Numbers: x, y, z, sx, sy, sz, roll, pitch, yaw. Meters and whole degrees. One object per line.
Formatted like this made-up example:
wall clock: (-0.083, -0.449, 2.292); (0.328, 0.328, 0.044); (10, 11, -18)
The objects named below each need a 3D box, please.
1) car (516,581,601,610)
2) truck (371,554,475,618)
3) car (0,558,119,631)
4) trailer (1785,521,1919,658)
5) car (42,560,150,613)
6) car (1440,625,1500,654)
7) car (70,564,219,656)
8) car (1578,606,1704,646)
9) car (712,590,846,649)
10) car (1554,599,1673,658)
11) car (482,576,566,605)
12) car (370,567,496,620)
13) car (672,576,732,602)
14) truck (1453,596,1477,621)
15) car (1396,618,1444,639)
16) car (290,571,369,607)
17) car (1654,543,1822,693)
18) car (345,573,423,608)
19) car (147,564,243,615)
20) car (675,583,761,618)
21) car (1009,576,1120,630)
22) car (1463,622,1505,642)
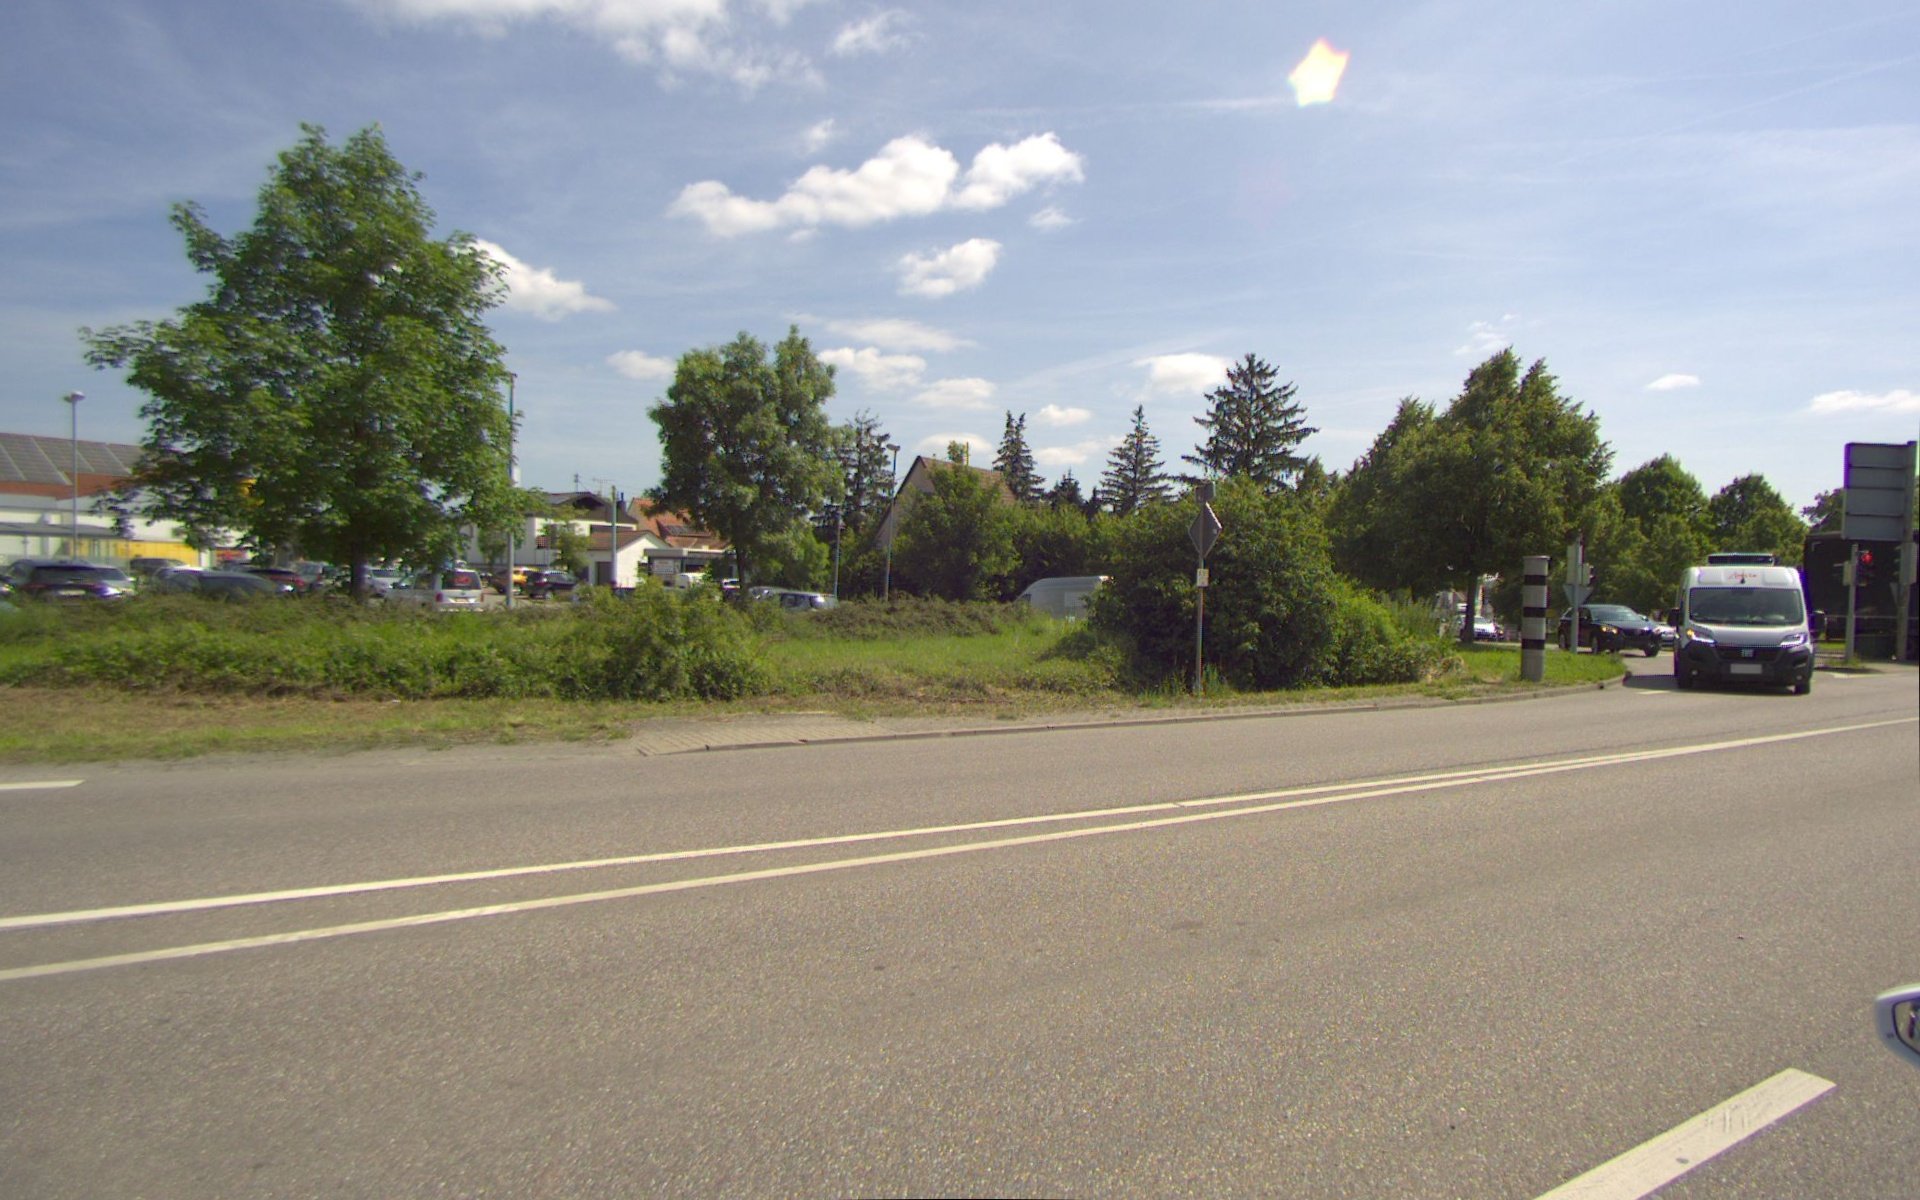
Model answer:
car: (-23.401, -0.233, 58.684); (1.849, 1.562, 4.243); (2, 0, 37)
truck: (-21.200, -0.549, 39.629); (3.932, 2.397, 1.994); (2, 0, 34)
car: (-23.670, -0.178, 26.272); (3.939, 1.697, 1.903); (3, 1, 40)
trailer: (30.823, -0.276, 27.729); (2.749, 4.116, 13.696); (0, 1, -12)
car: (-27.090, -0.431, 31.456); (3.936, 1.549, 1.772); (2, 0, 37)
car: (28.489, 2.191, 56.241); (1.758, 1.436, 4.050); (0, 1, 8)
car: (-16.426, 0.164, 20.168); (3.941, 1.679, 1.686); (2, 0, 42)
car: (28.042, 1.034, 41.543); (1.778, 1.480, 4.251); (1, 0, -11)
car: (-5.944, 0.626, 32.901); (3.928, 1.751, 1.997); (2, 0, 29)
car: (21.853, 0.919, 33.774); (1.834, 1.773, 4.113); (2, 0, 10)
car: (-25.979, -0.522, 59.940); (1.849, 1.562, 4.243); (2, 0, 37)
car: (-18.179, -0.225, 34.599); (4.353, 1.717, 1.994); (1, 0, 34)
car: (-19.020, -0.776, 74.123); (1.866, 1.782, 3.988); (2, 0, 35)
truck: (80.513, 1.372, 160.096); (2.894, 3.848, 7.912); (1, 0, 30)
car: (31.625, 1.940, 69.146); (1.706, 1.322, 4.283); (1, 0, 6)
car: (-29.145, -0.528, 46.393); (4.193, 1.562, 1.871); (2, 0, 40)
car: (16.156, 0.337, 21.186); (2.087, 2.690, 5.972); (1, 0, 31)
car: (-27.866, -0.453, 48.535); (4.193, 1.562, 1.871); (2, 0, 40)
car: (-25.373, -0.360, 33.270); (3.941, 1.549, 1.770); (2, 0, 41)
car: (-12.438, 0.032, 51.727); (1.883, 1.662, 3.984); (2, 0, 38)
car: (4.622, 0.105, 44.830); (4.524, 2.209, 1.992); (2, 1, 37)
car: (41.629, 2.520, 79.943); (1.959, 1.448, 4.002); (2, 0, 13)
